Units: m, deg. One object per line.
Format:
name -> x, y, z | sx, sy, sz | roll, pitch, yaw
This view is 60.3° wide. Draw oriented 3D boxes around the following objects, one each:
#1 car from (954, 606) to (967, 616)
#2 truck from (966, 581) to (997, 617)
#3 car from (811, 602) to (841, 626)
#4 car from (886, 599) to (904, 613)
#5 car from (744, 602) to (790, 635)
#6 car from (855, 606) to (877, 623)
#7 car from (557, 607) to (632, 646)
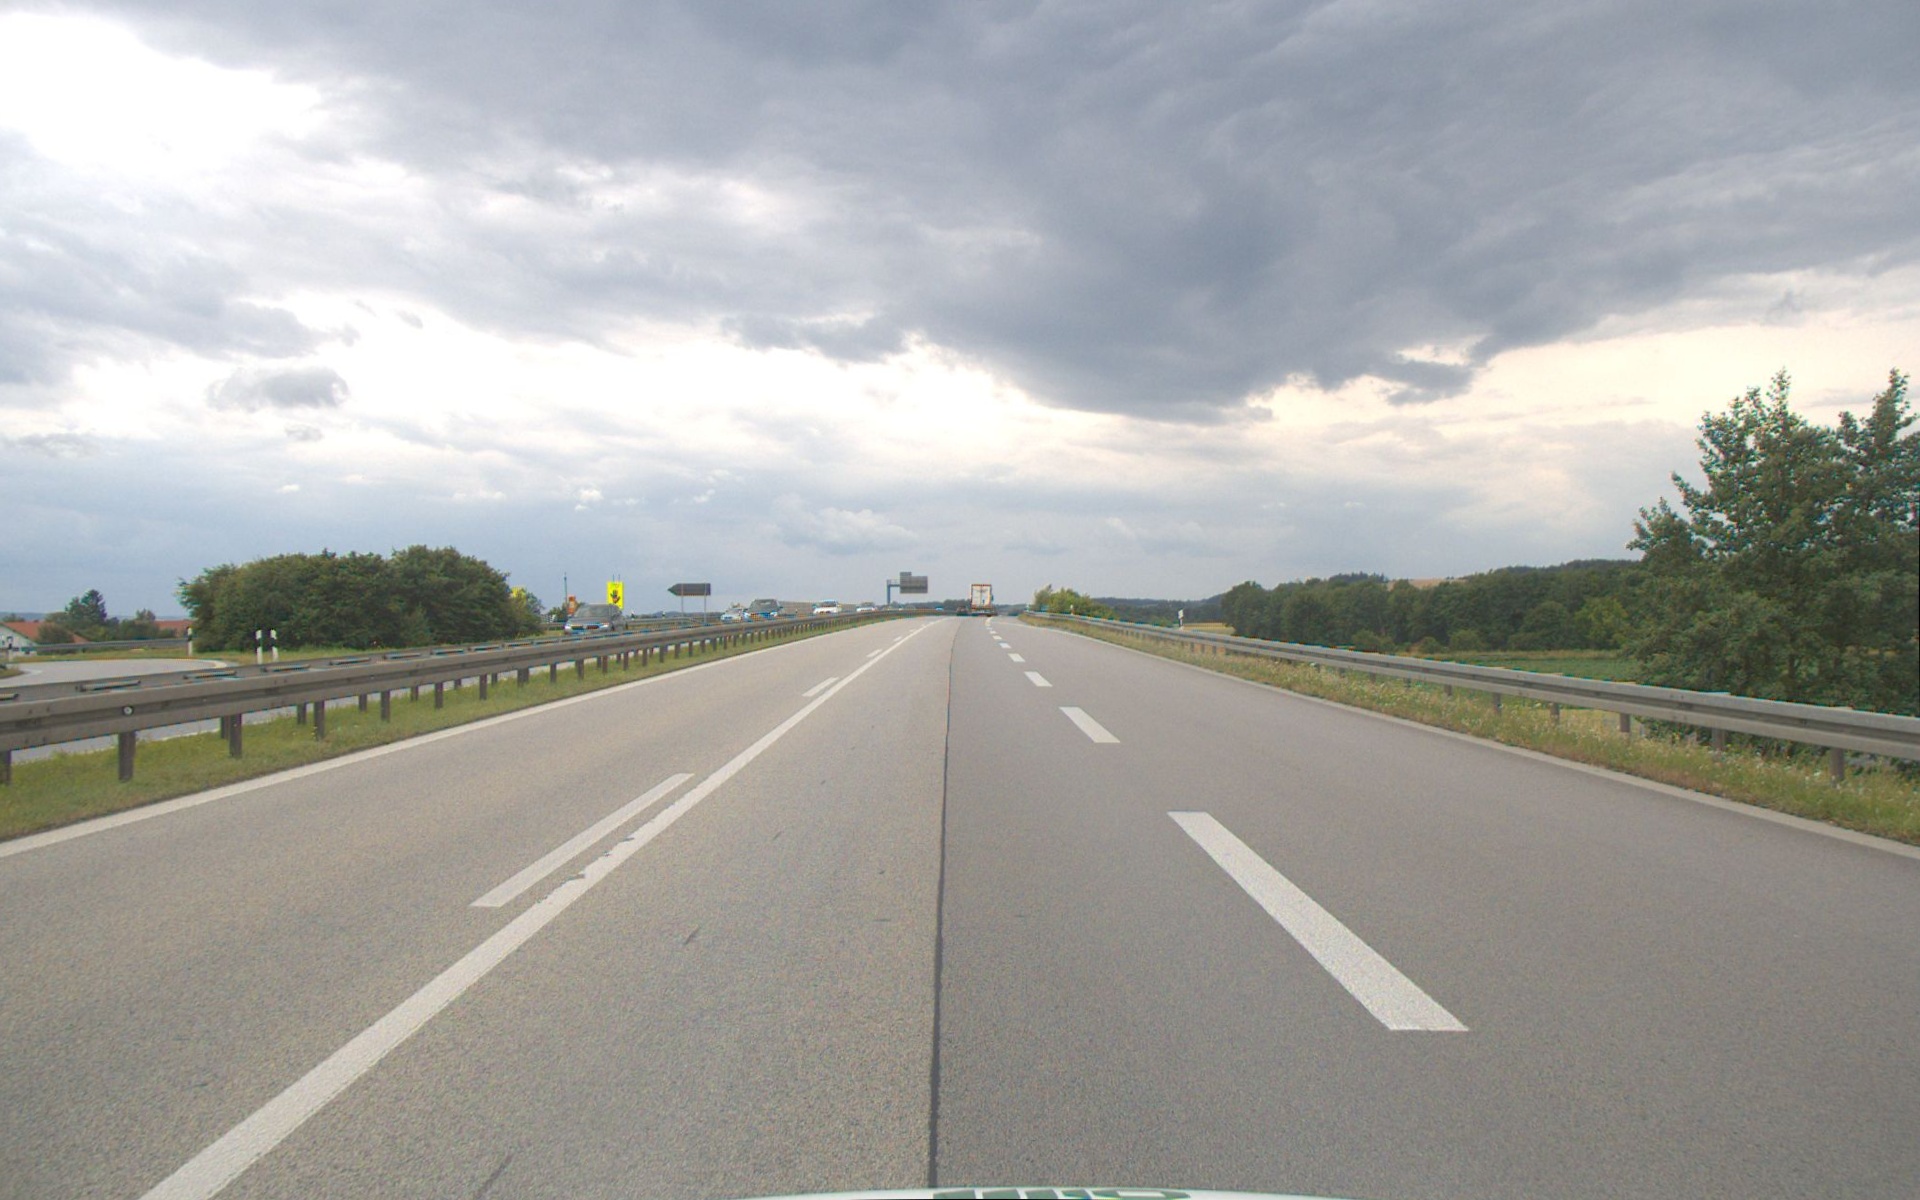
car -> 0.115, 1.621, 252.653 | 1.953, 1.445, 4.000 | 1, 0, 0
truck -> 2.911, -0.041, 221.813 | 3.596, 4.490, 16.344 | 0, -1, 3
car -> -9.829, 1.014, 121.418 | 1.816, 1.616, 4.816 | -1, 0, 0
car -> -8.096, 0.743, 206.138 | 2.092, 1.616, 4.999 | -1, 0, 0
car -> -10.220, 0.956, 87.887 | 1.852, 1.616, 4.762 | -1, 0, 0
car -> -9.175, 1.402, 162.191 | 1.852, 1.616, 4.762 | -1, 0, 0
car -> -13.843, 0.975, 62.933 | 1.788, 1.369, 4.783 | -1, 0, 0
